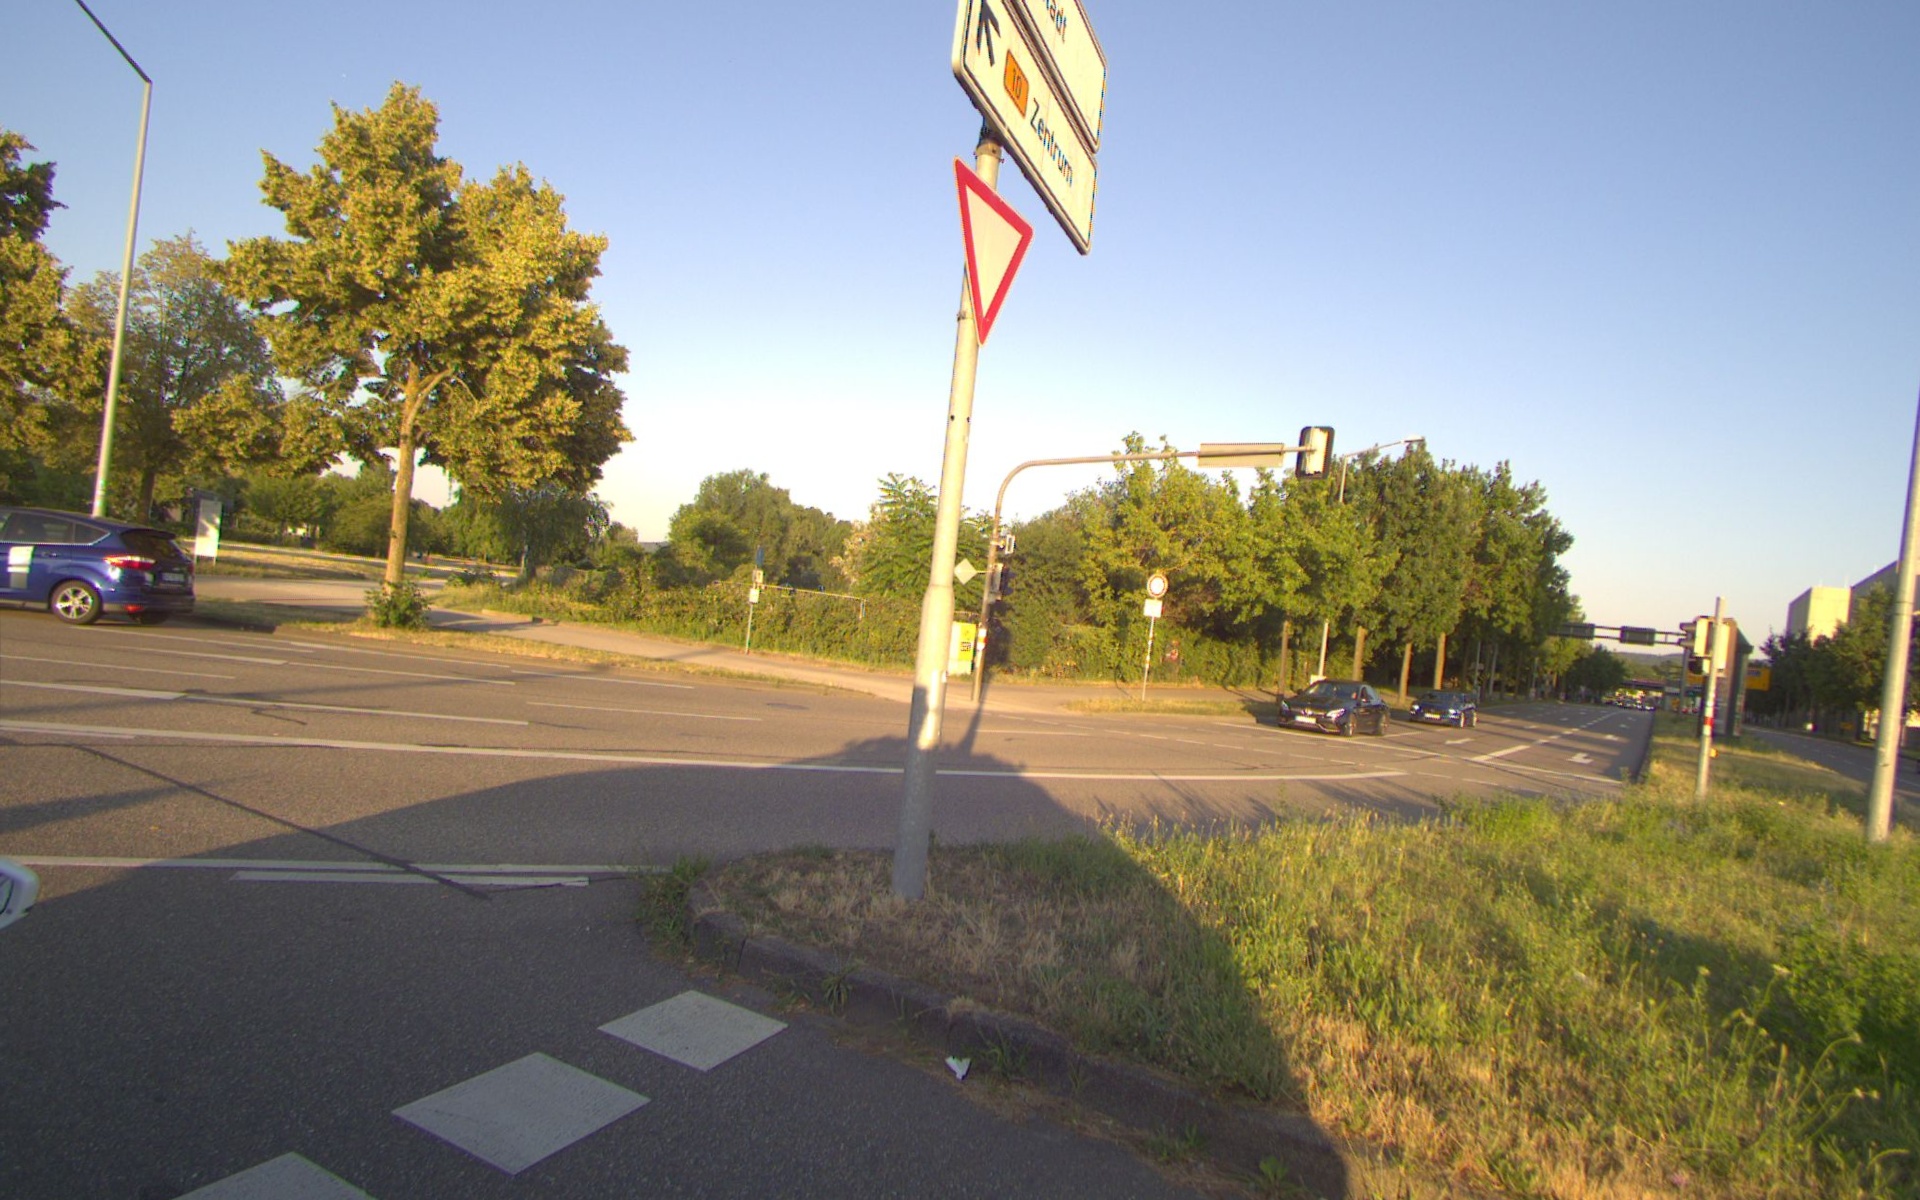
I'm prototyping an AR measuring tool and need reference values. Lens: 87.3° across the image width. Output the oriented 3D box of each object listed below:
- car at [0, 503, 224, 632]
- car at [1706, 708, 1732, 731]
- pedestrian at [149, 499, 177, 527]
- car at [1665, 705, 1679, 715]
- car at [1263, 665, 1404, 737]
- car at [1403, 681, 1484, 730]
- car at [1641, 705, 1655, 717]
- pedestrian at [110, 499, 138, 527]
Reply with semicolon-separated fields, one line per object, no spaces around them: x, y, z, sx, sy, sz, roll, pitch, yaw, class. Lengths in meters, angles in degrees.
-14.071;-0.588;15.276;4.109;1.602;1.914;7;-1;-8;car
79.030;12.438;104.783;1.970;2.038;3.986;7;-1;38;car
-52.012;-5.650;65.639;0.896;1.637;1.070;7;0;34;pedestrian
139.026;21.560;196.509;1.968;1.648;3.991;6;-1;33;car
10.050;2.728;26.842;1.972;1.522;4.602;6;-2;40;car
18.805;4.091;39.014;1.969;1.523;4.758;7;-1;35;car
127.400;20.555;186.230;1.969;2.037;3.991;6;-2;35;car
-53.435;-5.558;64.312;0.896;1.637;1.070;7;0;34;pedestrian
